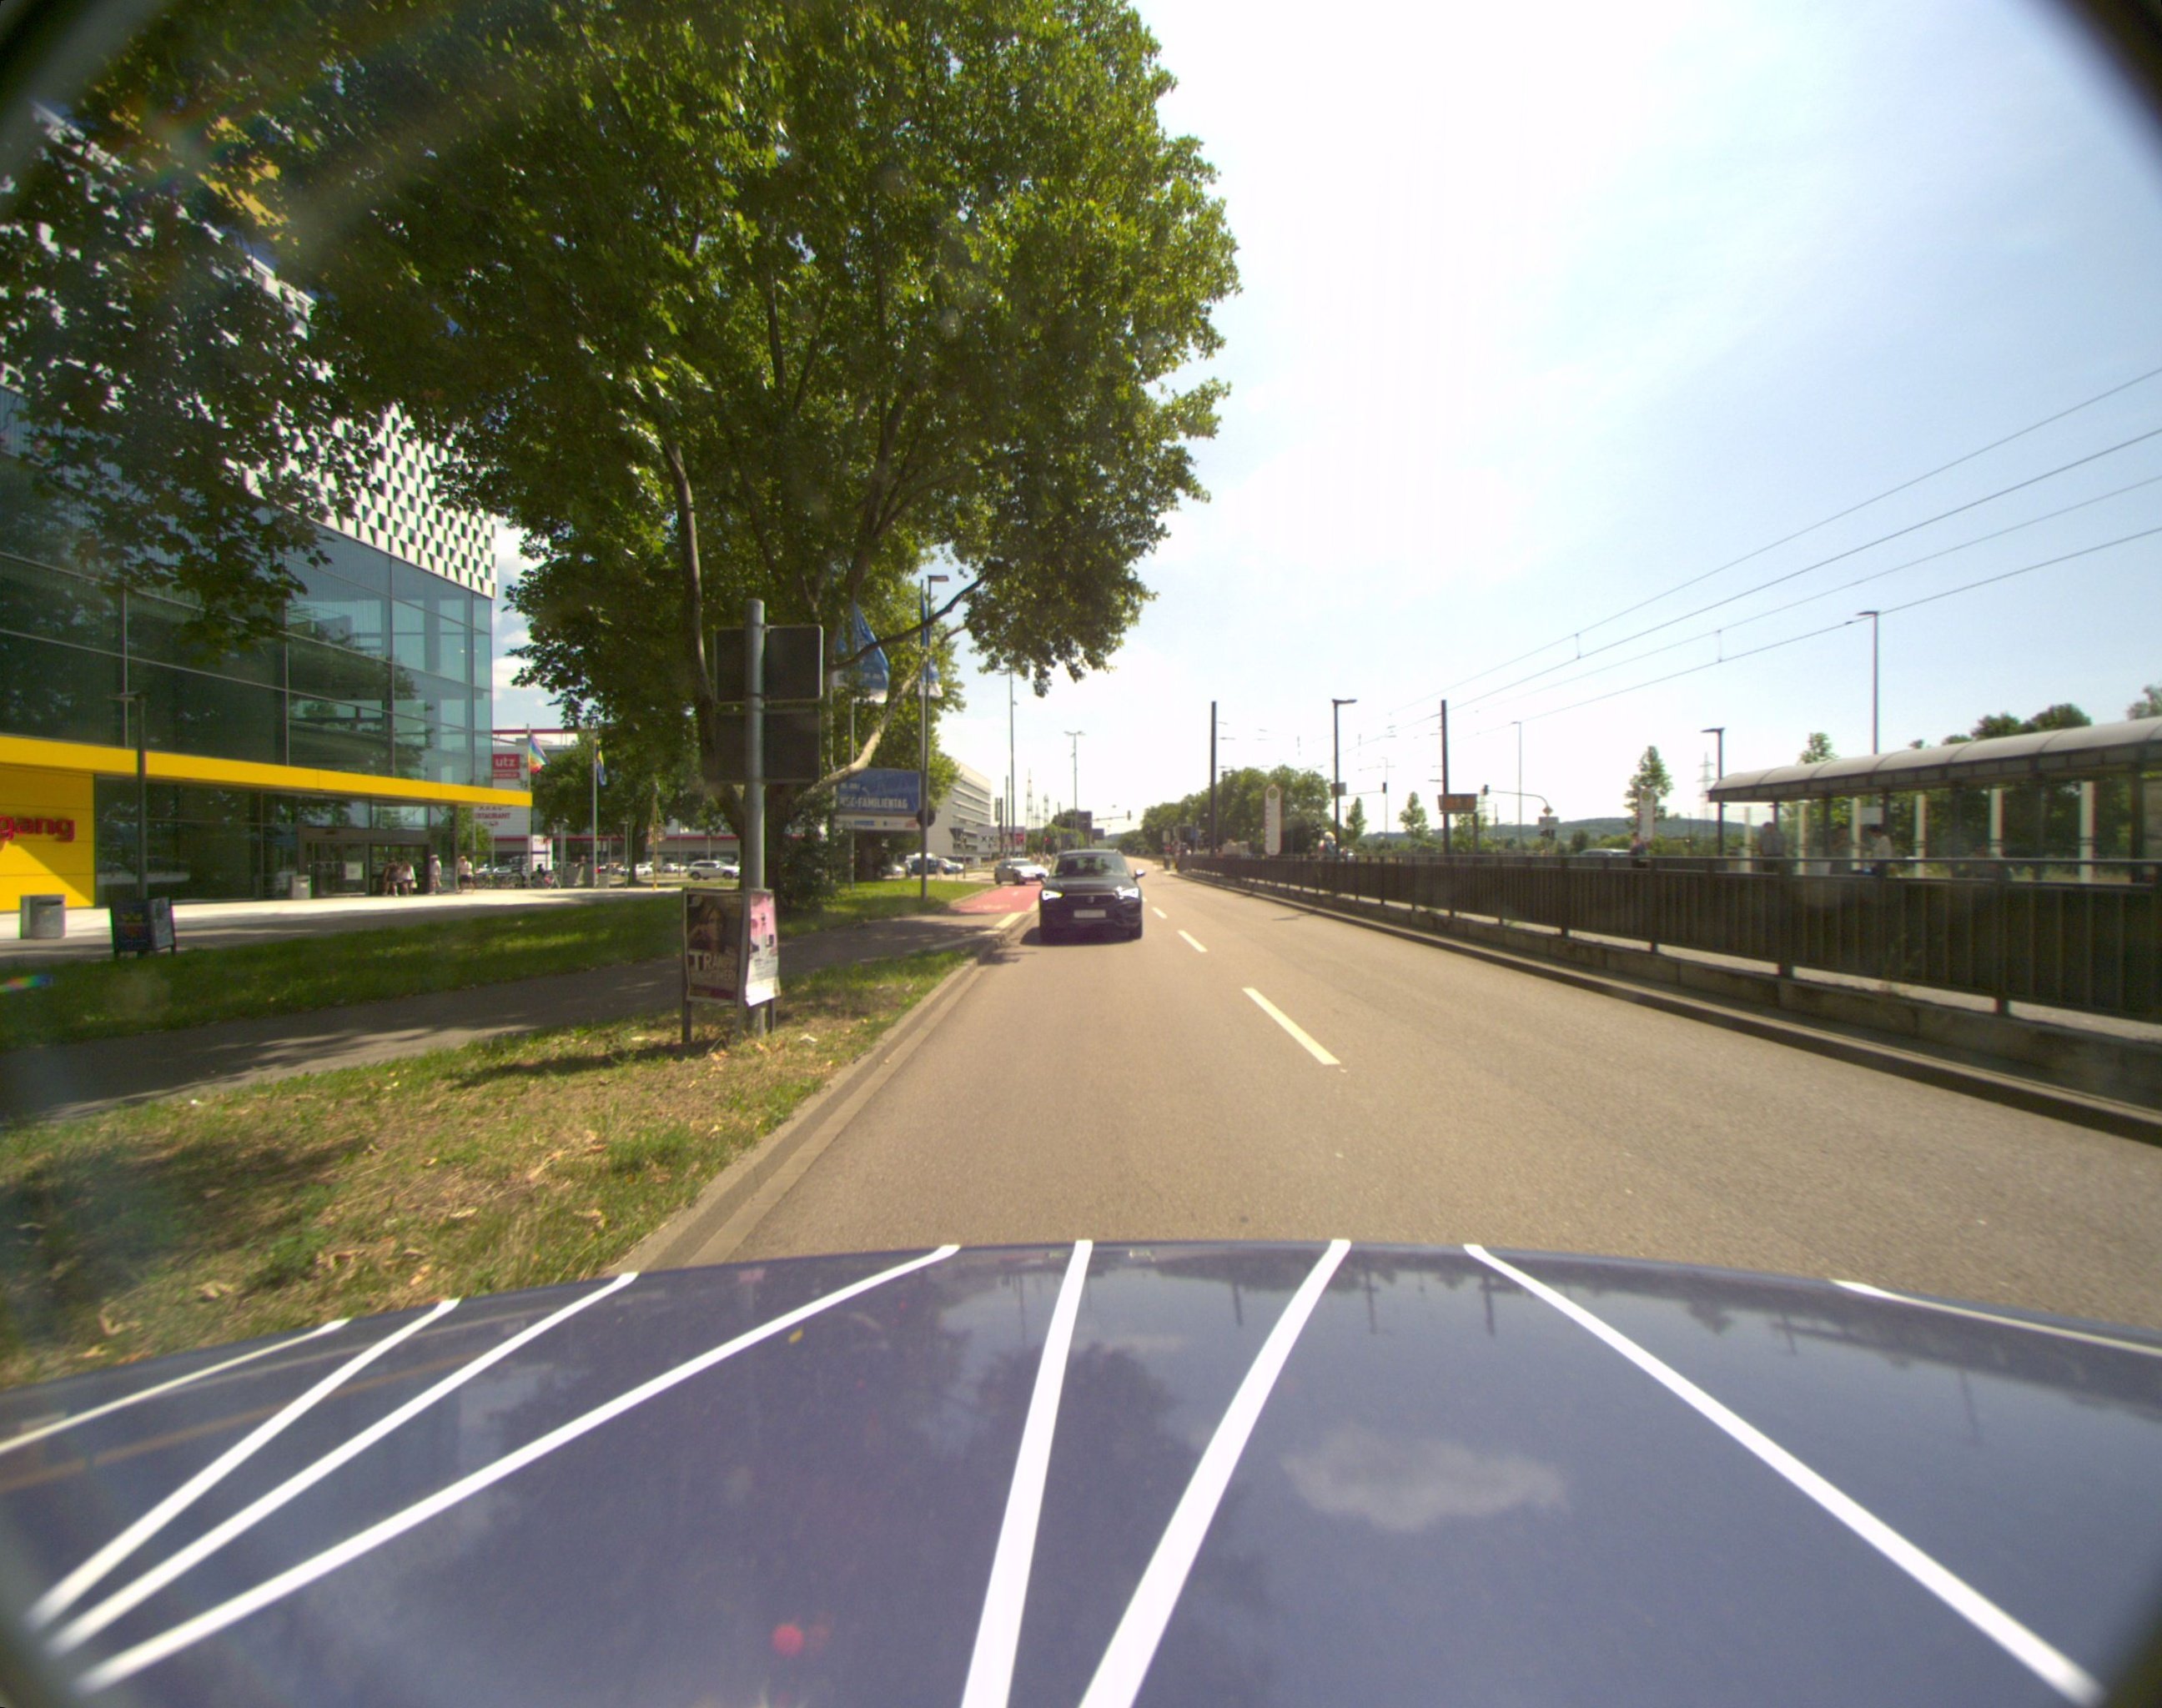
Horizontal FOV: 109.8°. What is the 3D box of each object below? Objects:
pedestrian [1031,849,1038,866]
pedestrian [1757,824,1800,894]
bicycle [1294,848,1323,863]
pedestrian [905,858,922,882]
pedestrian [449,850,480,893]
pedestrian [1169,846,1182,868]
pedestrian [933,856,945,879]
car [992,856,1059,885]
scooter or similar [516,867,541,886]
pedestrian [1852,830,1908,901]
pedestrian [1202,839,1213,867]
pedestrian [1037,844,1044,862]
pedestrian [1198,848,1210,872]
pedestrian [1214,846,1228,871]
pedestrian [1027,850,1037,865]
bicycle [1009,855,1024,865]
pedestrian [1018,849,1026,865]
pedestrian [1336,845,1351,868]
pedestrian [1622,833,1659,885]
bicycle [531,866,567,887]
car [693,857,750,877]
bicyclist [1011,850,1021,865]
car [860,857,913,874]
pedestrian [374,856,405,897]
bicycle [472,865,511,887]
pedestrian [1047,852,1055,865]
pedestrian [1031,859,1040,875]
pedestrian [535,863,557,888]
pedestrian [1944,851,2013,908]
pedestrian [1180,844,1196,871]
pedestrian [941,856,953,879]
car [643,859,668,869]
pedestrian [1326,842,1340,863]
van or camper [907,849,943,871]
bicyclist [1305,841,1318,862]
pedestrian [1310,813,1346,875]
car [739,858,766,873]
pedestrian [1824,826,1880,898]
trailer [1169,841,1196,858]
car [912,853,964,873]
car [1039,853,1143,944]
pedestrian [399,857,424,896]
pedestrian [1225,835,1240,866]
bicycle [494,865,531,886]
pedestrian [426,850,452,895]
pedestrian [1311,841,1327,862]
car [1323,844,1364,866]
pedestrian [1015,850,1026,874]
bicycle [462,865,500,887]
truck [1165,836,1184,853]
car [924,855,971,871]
[{"bbox_3d":[-4.335,0.320,70.962,0.528,1.571,0.612,-1,1,6],"label":"pedestrian"},{"bbox_3d":[17.424,0.117,18.992,0.736,1.719,0.579,0,1,38],"label":"pedestrian"},{"bbox_3d":[17.500,0.116,58.411,1.979,1.094,0.763,-2,1,-14],"label":"bicycle"},{"bbox_3d":[-11.736,1.114,53.302,0.795,1.649,0.853,-1,1,22],"label":"pedestrian"},{"bbox_3d":[-29.103,0.817,35.877,0.798,2.002,0.733,-1,1,9],"label":"pedestrian"},{"bbox_3d":[6.851,0.226,55.005,0.787,1.563,0.764,-1,1,-2],"label":"pedestrian"},{"bbox_3d":[-10.636,1.021,56.889,0.603,1.628,0.864,-2,2,7],"label":"pedestrian"},{"bbox_3d":[-2.991,0.842,40.323,1.735,1.410,4.311,-3,1,-31],"label":"car"},{"bbox_3d":[-35.410,1.424,48.710,1.076,1.191,0.728,-1,1,0],"label":"scooter or similar"},{"bbox_3d":[17.631,0.245,16.776,0.578,1.524,0.639,-1,1,2],"label":"pedestrian"},{"bbox_3d":[7.162,-0.037,43.024,0.498,1.568,0.557,-1,1,0],"label":"pedestrian"},{"bbox_3d":[-3.751,-0.123,70.941,0.528,1.656,0.640,-1,1,6],"label":"pedestrian"},{"bbox_3d":[8.660,0.438,53.493,0.734,1.663,0.678,-1,1,-2],"label":"pedestrian"},{"bbox_3d":[7.789,0.234,42.255,0.615,1.337,0.719,-2,1,-1],"label":"pedestrian"},{"bbox_3d":[-5.624,0.394,86.914,0.807,1.749,0.795,-1,1,-34],"label":"pedestrian"},{"bbox_3d":[-7.584,0.697,89.245,0.833,1.155,1.873,-1,1,-44],"label":"bicycle"},{"bbox_3d":[-6.737,0.352,86.868,0.805,1.854,0.798,-2,1,6],"label":"pedestrian"},{"bbox_3d":[18.967,0.196,54.939,0.763,1.662,0.764,-1,1,-1],"label":"pedestrian"},{"bbox_3d":[17.862,0.148,24.277,0.558,1.628,0.806,-1,1,-6],"label":"pedestrian"},{"bbox_3d":[-31.320,1.303,44.746,0.803,1.138,2.430,-1,0,-12],"label":"bicycle"},{"bbox_3d":[-32.006,1.155,67.685,4.079,1.630,2.000,-1,1,-1],"label":"car"},{"bbox_3d":[-7.588,0.431,89.243,0.818,1.691,0.797,-1,1,-44],"label":"bicyclist"},{"bbox_3d":[-17.362,1.007,67.836,4.227,1.390,1.805,-1,1,9],"label":"car"},{"bbox_3d":[-29.972,0.962,32.932,0.781,1.726,0.742,-1,1,29],"label":"pedestrian"},{"bbox_3d":[-34.908,1.304,45.011,0.803,1.192,2.430,-1,0,-12],"label":"bicycle"},{"bbox_3d":[-3.263,0.485,82.738,0.592,1.467,0.804,-1,1,-39],"label":"pedestrian"},{"bbox_3d":[-4.884,1.359,81.116,0.785,1.663,0.945,-2,1,-14],"label":"pedestrian"},{"bbox_3d":[-34.341,1.358,48.802,0.920,1.577,0.633,-1,1,-4],"label":"pedestrian"},{"bbox_3d":[17.584,0.498,14.899,0.578,1.088,0.639,-1,1,2],"label":"pedestrian"},{"bbox_3d":[7.169,0.241,50.908,0.865,1.792,0.883,-2,1,-2],"label":"pedestrian"},{"bbox_3d":[-10.019,1.000,56.819,0.607,1.628,0.864,-2,2,7],"label":"pedestrian"},{"bbox_3d":[-69.700,1.605,124.414,1.693,1.518,4.000,-2,1,3],"label":"car"},{"bbox_3d":[18.620,-0.083,56.187,0.763,1.539,0.764,-1,1,-1],"label":"pedestrian"},{"bbox_3d":[-22.695,0.855,111.012,2.714,2.929,7.616,-2,1,7],"label":"van or camper"},{"bbox_3d":[17.743,-0.209,58.481,0.666,1.606,0.732,-2,1,-14],"label":"bicyclist"},{"bbox_3d":[6.820,-0.270,20.980,0.734,1.656,0.742,-1,1,0],"label":"pedestrian"},{"bbox_3d":[-48.831,1.741,113.106,1.998,2.002,4.000,-2,1,4],"label":"car"},{"bbox_3d":[17.784,0.176,17.541,0.826,1.629,0.579,0,1,38],"label":"pedestrian"},{"bbox_3d":[24.730,-1.084,185.962,3.124,3.848,15.473,-1,0,-6],"label":"trailer"},{"bbox_3d":[-12.115,0.741,64.586,3.996,1.546,2.000,-2,0,2],"label":"car"},{"bbox_3d":[0.108,0.795,15.431,1.820,1.583,3.999,-1,0,-2],"label":"car"},{"bbox_3d":[-29.576,0.993,33.549,0.606,1.662,0.587,-1,1,28],"label":"pedestrian"},{"bbox_3d":[8.423,-0.182,42.241,0.615,1.672,0.719,-2,1,-1],"label":"pedestrian"},{"bbox_3d":[-33.912,1.270,45.389,0.803,1.192,2.430,-1,0,-12],"label":"bicycle"},{"bbox_3d":[-29.511,0.847,34.924,0.797,2.002,0.734,0,1,37],"label":"pedestrian"},{"bbox_3d":[17.892,-0.178,57.100,0.959,1.601,0.764,-1,1,-1],"label":"pedestrian"},{"bbox_3d":[21.155,0.085,61.418,1.998,1.620,4.000,-2,1,2],"label":"car"},{"bbox_3d":[-4.290,0.593,54.078,0.725,1.673,0.625,-2,1,-2],"label":"pedestrian"},{"bbox_3d":[-36.077,1.302,45.734,0.803,1.192,2.430,-1,0,-12],"label":"bicycle"},{"bbox_3d":[23.788,-2.428,194.283,3.135,4.015,7.470,-1,0,-6],"label":"truck"},{"bbox_3d":[-11.874,0.782,67.671,3.834,1.389,1.803,-1,0,-1],"label":"car"}]
